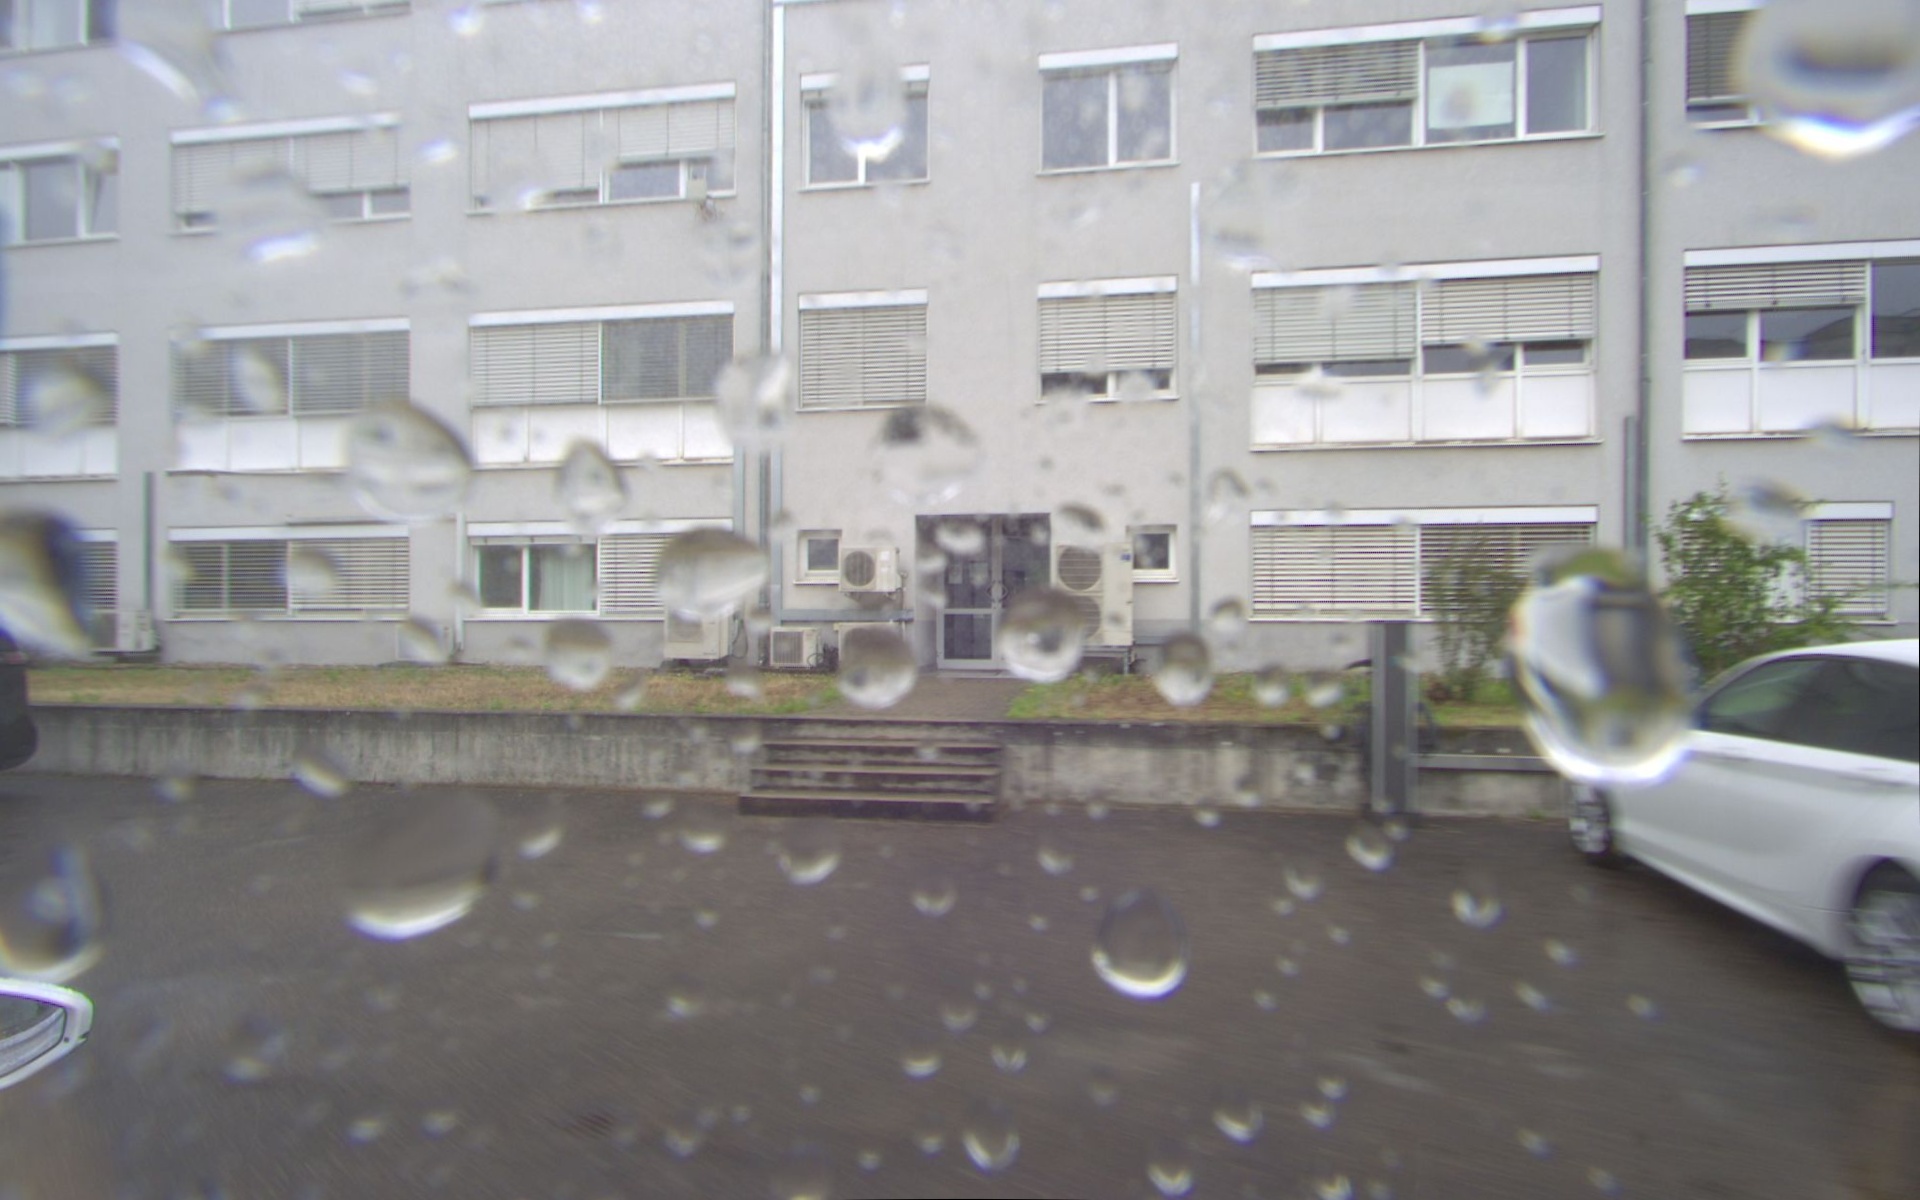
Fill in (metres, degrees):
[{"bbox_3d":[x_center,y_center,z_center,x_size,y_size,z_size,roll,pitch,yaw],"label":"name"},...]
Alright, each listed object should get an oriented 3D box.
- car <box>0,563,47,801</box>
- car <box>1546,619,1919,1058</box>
[{"bbox_3d":[-9.009,0.634,6.355,2.007,1.922,4.522,-1,-1,8],"label":"car"},{"bbox_3d":[4.534,0.870,4.534,1.962,1.509,4.220,1,-1,12],"label":"car"}]
